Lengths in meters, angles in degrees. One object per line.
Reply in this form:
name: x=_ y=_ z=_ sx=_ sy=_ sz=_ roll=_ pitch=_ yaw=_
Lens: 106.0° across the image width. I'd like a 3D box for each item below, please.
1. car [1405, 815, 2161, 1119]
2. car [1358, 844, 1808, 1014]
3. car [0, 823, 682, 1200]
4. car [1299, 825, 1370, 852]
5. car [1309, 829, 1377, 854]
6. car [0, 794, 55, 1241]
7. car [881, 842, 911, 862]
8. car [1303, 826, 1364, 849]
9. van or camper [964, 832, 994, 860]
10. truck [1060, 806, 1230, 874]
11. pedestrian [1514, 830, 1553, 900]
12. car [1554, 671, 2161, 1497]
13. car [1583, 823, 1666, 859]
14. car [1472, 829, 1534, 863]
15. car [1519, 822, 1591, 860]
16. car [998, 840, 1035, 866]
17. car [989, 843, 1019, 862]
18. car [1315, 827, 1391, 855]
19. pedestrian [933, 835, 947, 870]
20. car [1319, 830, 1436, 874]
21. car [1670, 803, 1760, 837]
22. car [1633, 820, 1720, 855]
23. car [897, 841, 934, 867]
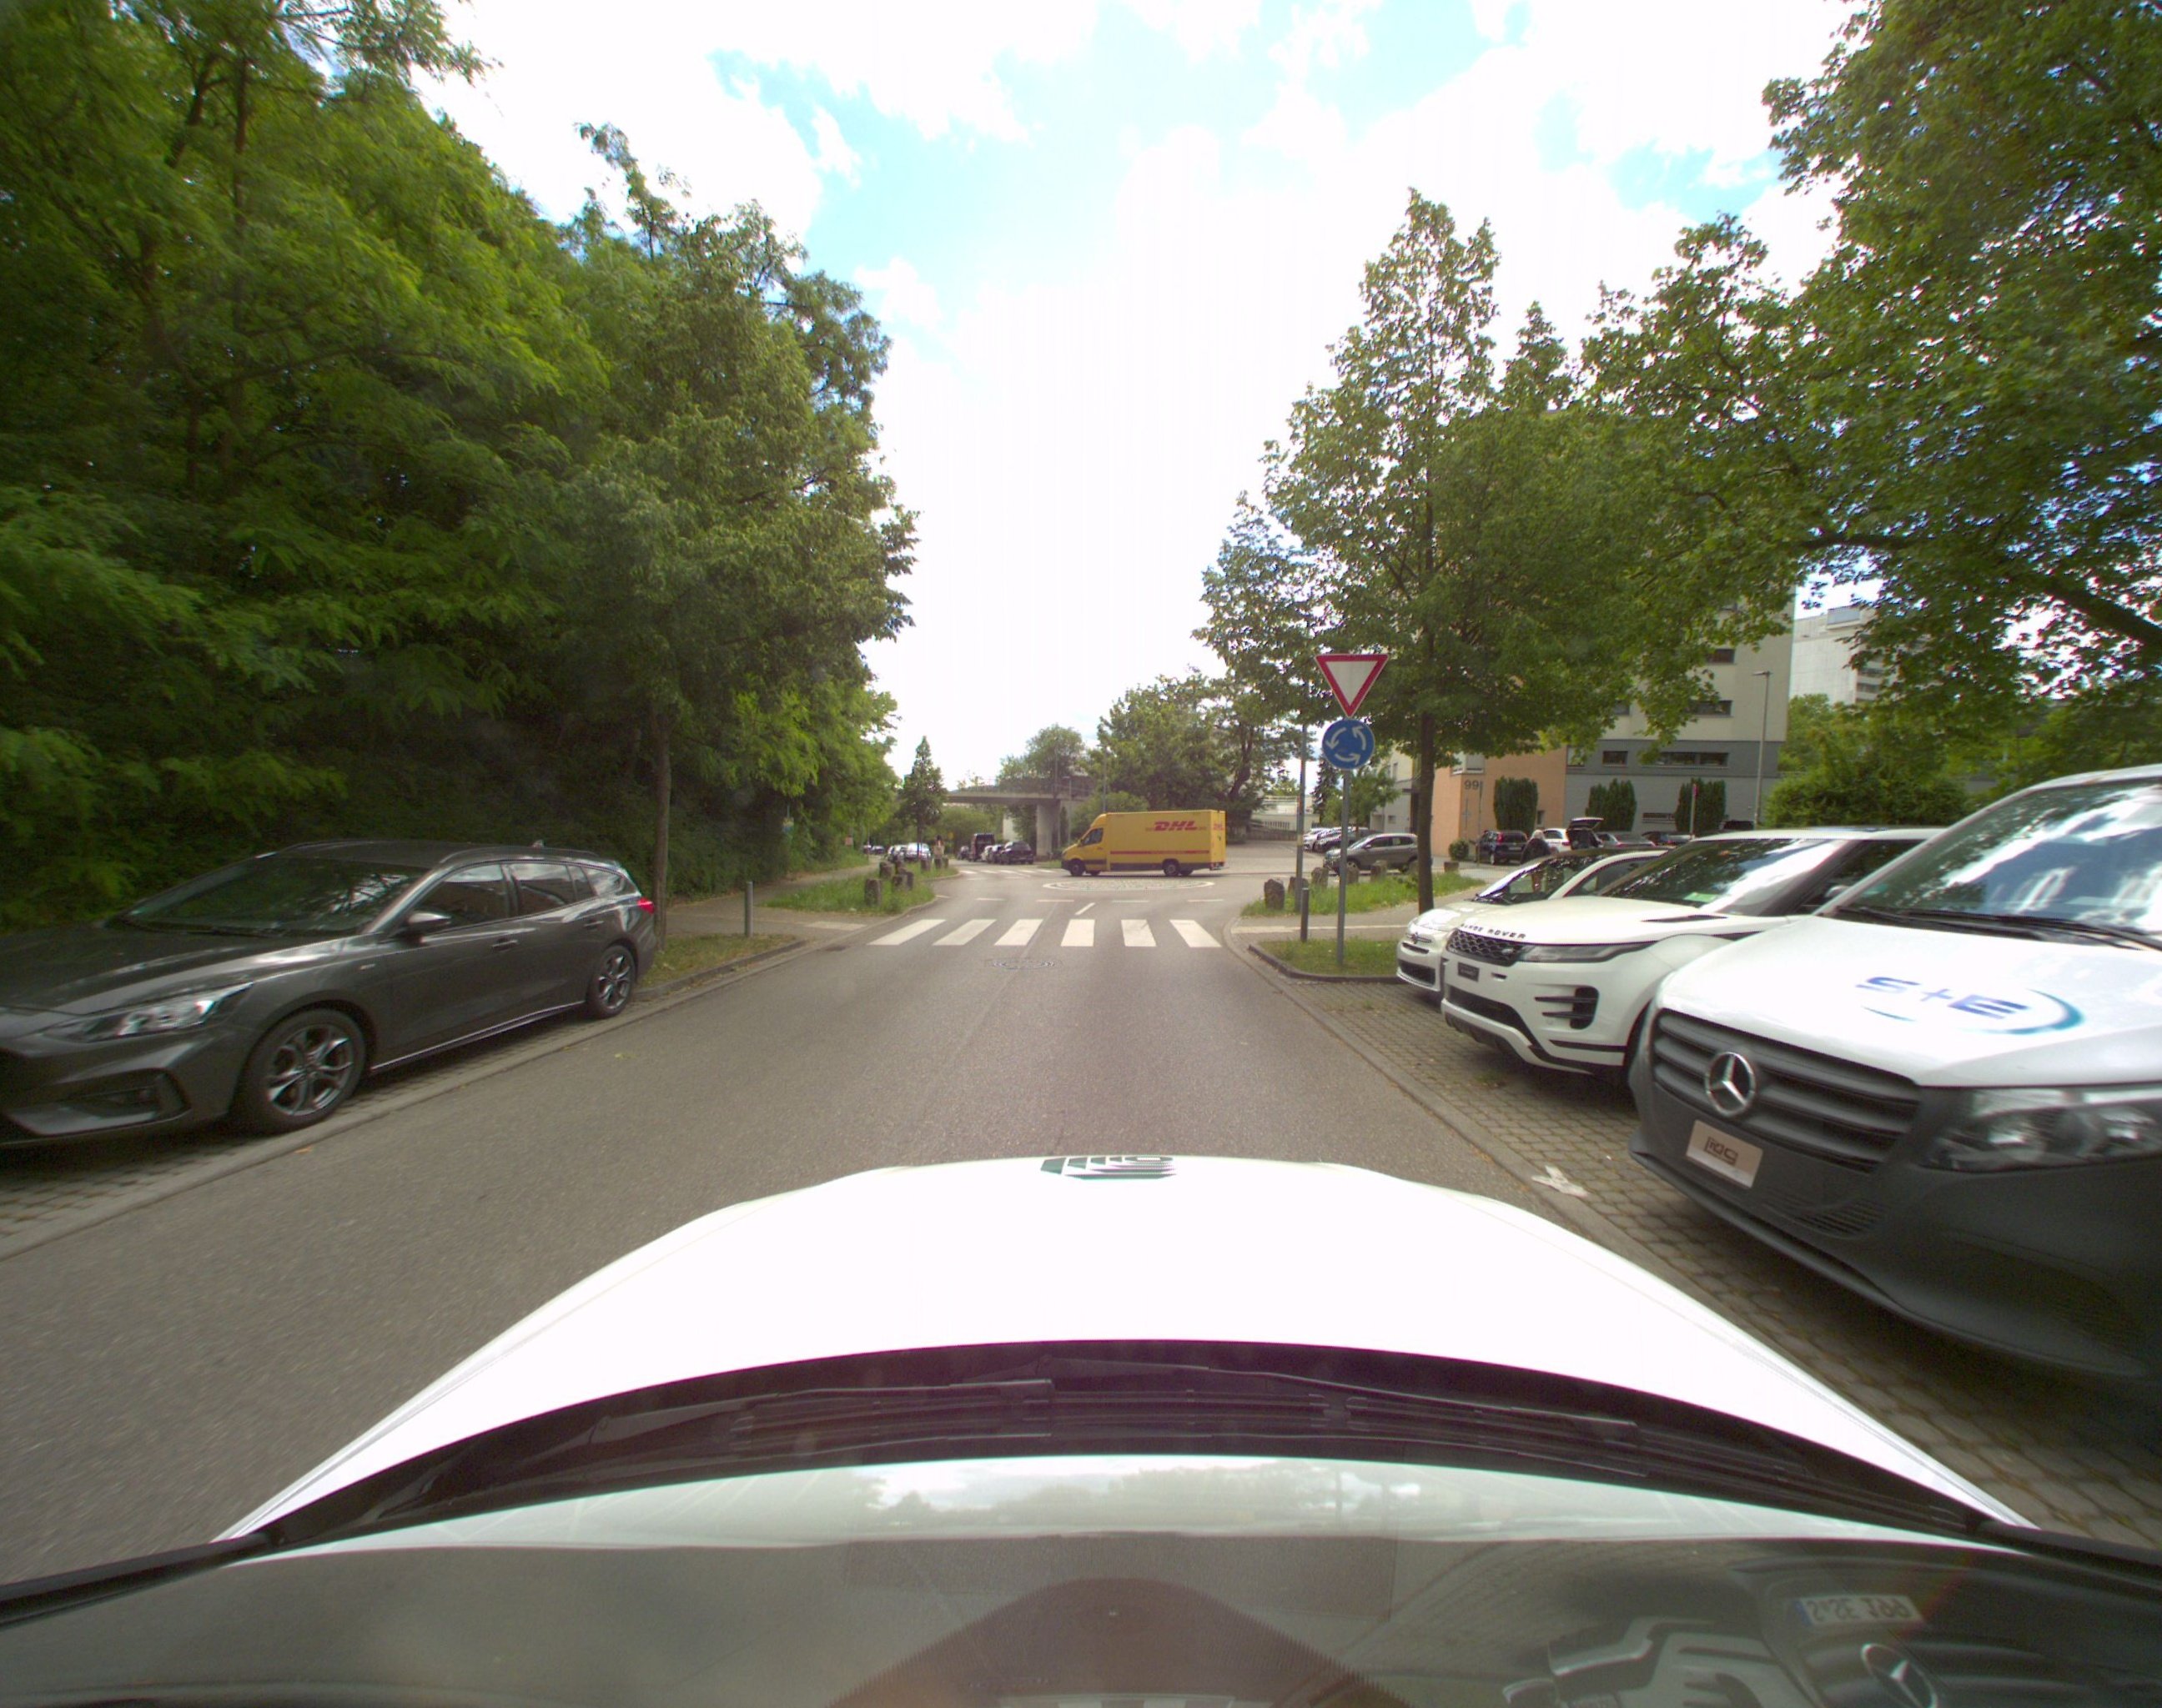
car: x=4.535 y=0.608 z=5.316 sx=4.137 sy=1.602 sz=1.739 roll=1 pitch=1 yaw=0
car: x=4.792 y=0.644 z=8.067 sx=3.508 sy=1.461 sz=1.735 roll=0 pitch=0 yaw=-7
car: x=-4.789 y=0.599 z=5.593 sx=1.683 sy=1.465 sz=4.459 roll=4 pitch=1 yaw=2
car: x=16.308 y=-0.998 z=52.583 sx=4.097 sy=1.593 sz=1.696 roll=1 pitch=1 yaw=7
car: x=16.066 y=-0.769 z=50.064 sx=3.802 sy=1.458 sz=1.698 roll=1 pitch=1 yaw=12
car: x=-4.838 y=0.587 z=0.815 sx=1.792 sy=1.615 sz=4.481 roll=4 pitch=1 yaw=2
car: x=-15.005 y=-0.156 z=65.914 sx=1.890 sy=1.509 sz=4.424 roll=1 pitch=0 yaw=-19
car: x=17.730 y=-1.133 z=57.274 sx=3.953 sy=1.517 sz=1.763 roll=1 pitch=1 yaw=13
van or camper: x=-9.554 y=-0.723 z=76.158 sx=1.997 sy=2.523 sz=5.442 roll=-2 pitch=0 yaw=-15
truck: x=2.684 y=-0.579 z=34.725 sx=6.739 sy=2.702 sz=2.489 roll=1 pitch=0 yaw=26
pedestrian: x=11.139 y=0.251 z=20.069 sx=0.608 sy=1.665 sz=0.843 roll=1 pitch=1 yaw=12
car: x=4.492 y=0.454 z=2.719 sx=4.757 sy=1.831 sz=1.843 roll=-1 pitch=1 yaw=0
car: x=24.203 y=-0.592 z=36.408 sx=1.627 sy=1.482 sz=3.787 roll=-2 pitch=1 yaw=9
car: x=19.287 y=-0.364 z=37.330 sx=1.491 sy=1.476 sz=3.535 roll=0 pitch=1 yaw=9
car: x=21.974 y=-0.600 z=37.899 sx=1.559 sy=1.658 sz=3.787 roll=-1 pitch=1 yaw=9
car: x=-4.704 y=-0.063 z=59.014 sx=1.817 sy=1.678 sz=4.345 roll=0 pitch=-3 yaw=-16
car: x=-6.182 y=-0.102 z=65.237 sx=1.703 sy=1.496 sz=4.097 roll=-1 pitch=0 yaw=-15
car: x=15.895 y=-0.768 z=47.759 sx=4.014 sy=1.517 sz=1.762 roll=1 pitch=1 yaw=12
pedestrian: x=-7.024 y=-0.071 z=40.666 sx=0.658 sy=1.721 sz=0.737 roll=1 pitch=1 yaw=-10
car: x=11.529 y=-0.087 z=31.840 sx=3.979 sy=1.618 sz=1.724 roll=-1 pitch=0 yaw=3
car: x=29.326 y=-1.536 z=37.798 sx=1.627 sy=1.482 sz=3.787 roll=-1 pitch=1 yaw=9
car: x=27.095 y=-0.731 z=37.186 sx=1.627 sy=1.482 sz=3.787 roll=-1 pitch=1 yaw=9
car: x=-10.152 y=-0.012 z=49.737 sx=1.791 sy=1.468 sz=3.977 roll=1 pitch=1 yaw=-18
